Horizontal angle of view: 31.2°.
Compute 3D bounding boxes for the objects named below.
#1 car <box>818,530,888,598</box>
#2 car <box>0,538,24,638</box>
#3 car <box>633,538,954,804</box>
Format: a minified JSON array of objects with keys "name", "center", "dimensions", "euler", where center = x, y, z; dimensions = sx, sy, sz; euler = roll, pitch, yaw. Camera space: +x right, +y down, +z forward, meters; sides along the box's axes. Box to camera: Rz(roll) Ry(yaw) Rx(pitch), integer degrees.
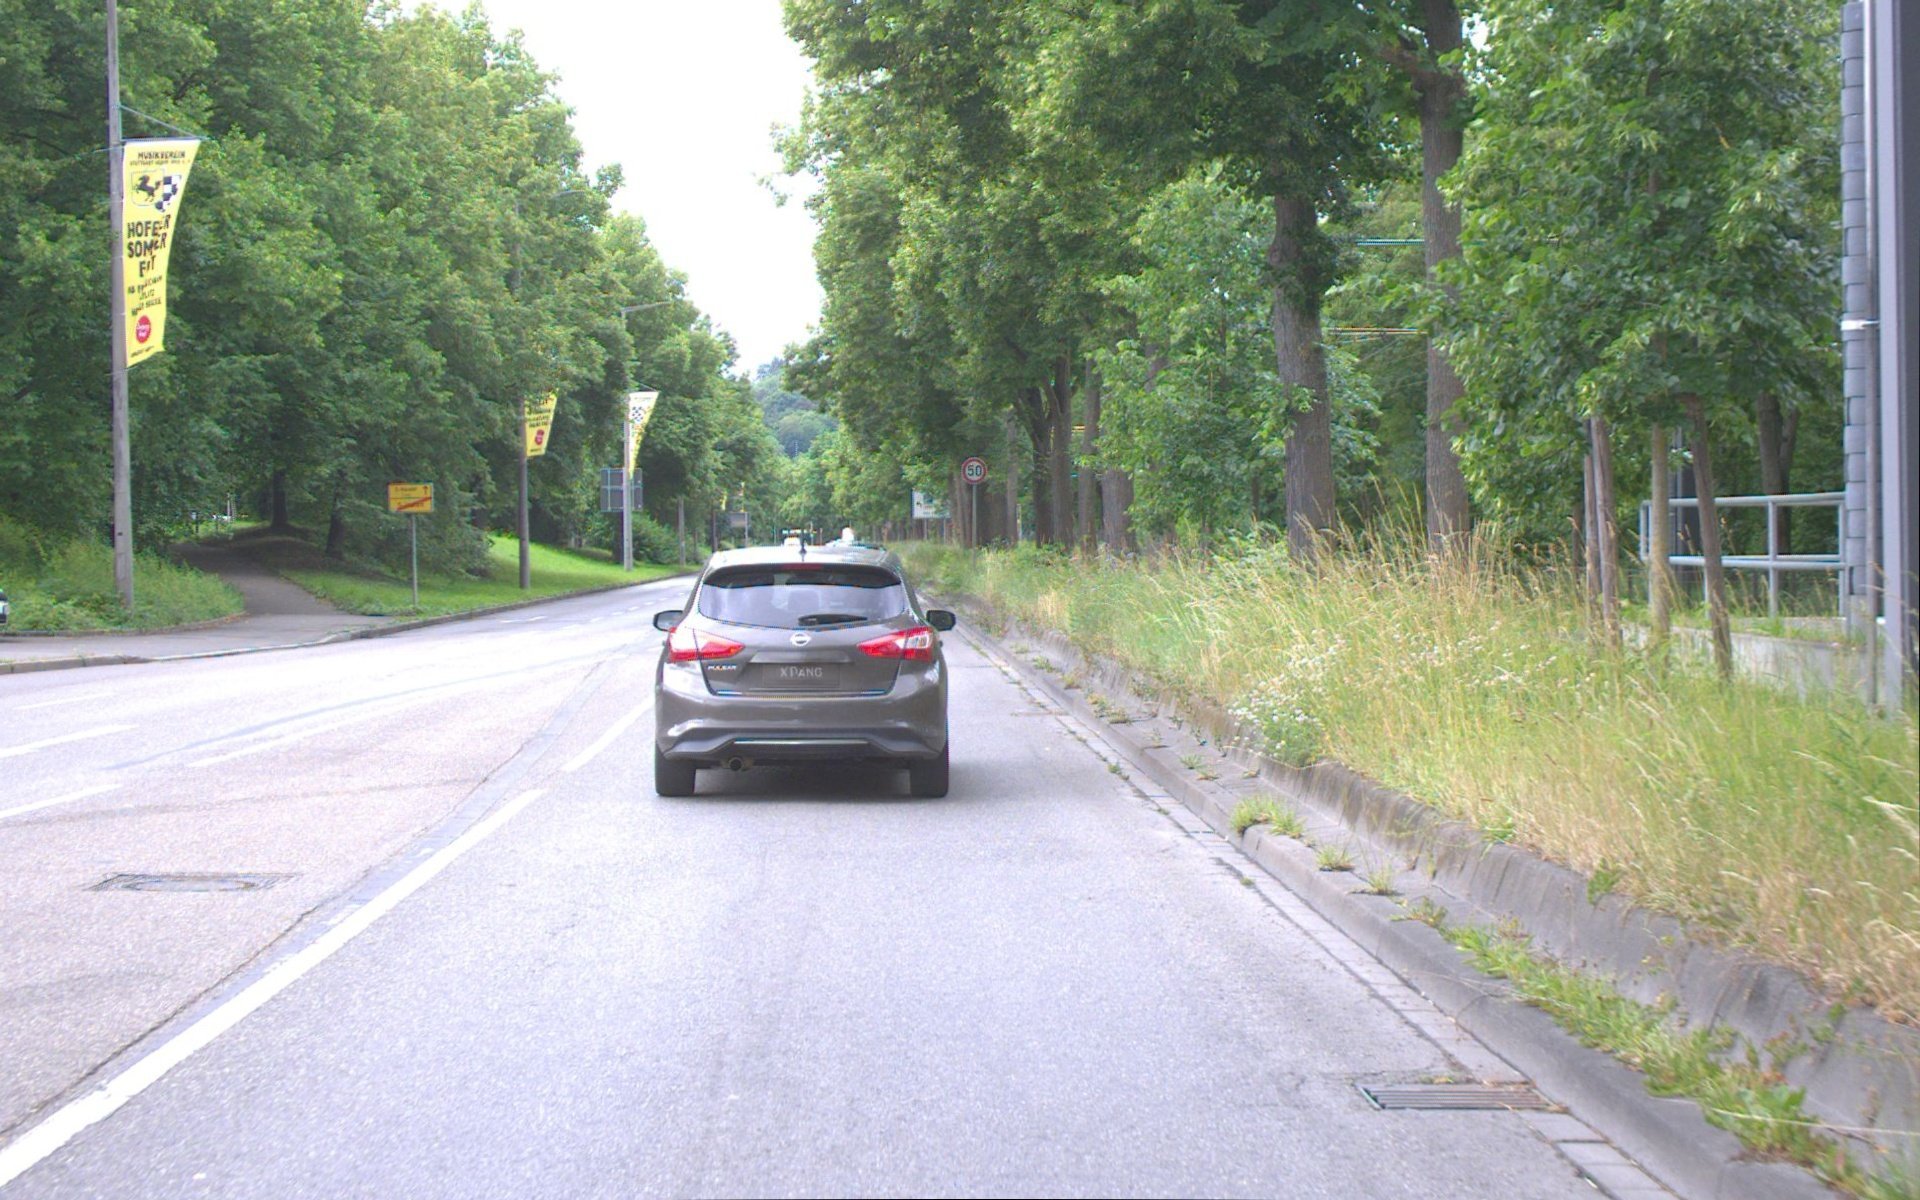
[{"name":"car","center":[-2.500,-0.844,81.006],"dimensions":[1.503,1.523,3.671],"euler":[1,1,0]},{"name":"car","center":[-16.067,-0.231,50.043],"dimensions":[4.374,1.436,1.962],"euler":[1,1,-4]},{"name":"car","center":[-0.970,0.390,21.921],"dimensions":[1.837,1.523,3.929],"euler":[1,1,0]}]
